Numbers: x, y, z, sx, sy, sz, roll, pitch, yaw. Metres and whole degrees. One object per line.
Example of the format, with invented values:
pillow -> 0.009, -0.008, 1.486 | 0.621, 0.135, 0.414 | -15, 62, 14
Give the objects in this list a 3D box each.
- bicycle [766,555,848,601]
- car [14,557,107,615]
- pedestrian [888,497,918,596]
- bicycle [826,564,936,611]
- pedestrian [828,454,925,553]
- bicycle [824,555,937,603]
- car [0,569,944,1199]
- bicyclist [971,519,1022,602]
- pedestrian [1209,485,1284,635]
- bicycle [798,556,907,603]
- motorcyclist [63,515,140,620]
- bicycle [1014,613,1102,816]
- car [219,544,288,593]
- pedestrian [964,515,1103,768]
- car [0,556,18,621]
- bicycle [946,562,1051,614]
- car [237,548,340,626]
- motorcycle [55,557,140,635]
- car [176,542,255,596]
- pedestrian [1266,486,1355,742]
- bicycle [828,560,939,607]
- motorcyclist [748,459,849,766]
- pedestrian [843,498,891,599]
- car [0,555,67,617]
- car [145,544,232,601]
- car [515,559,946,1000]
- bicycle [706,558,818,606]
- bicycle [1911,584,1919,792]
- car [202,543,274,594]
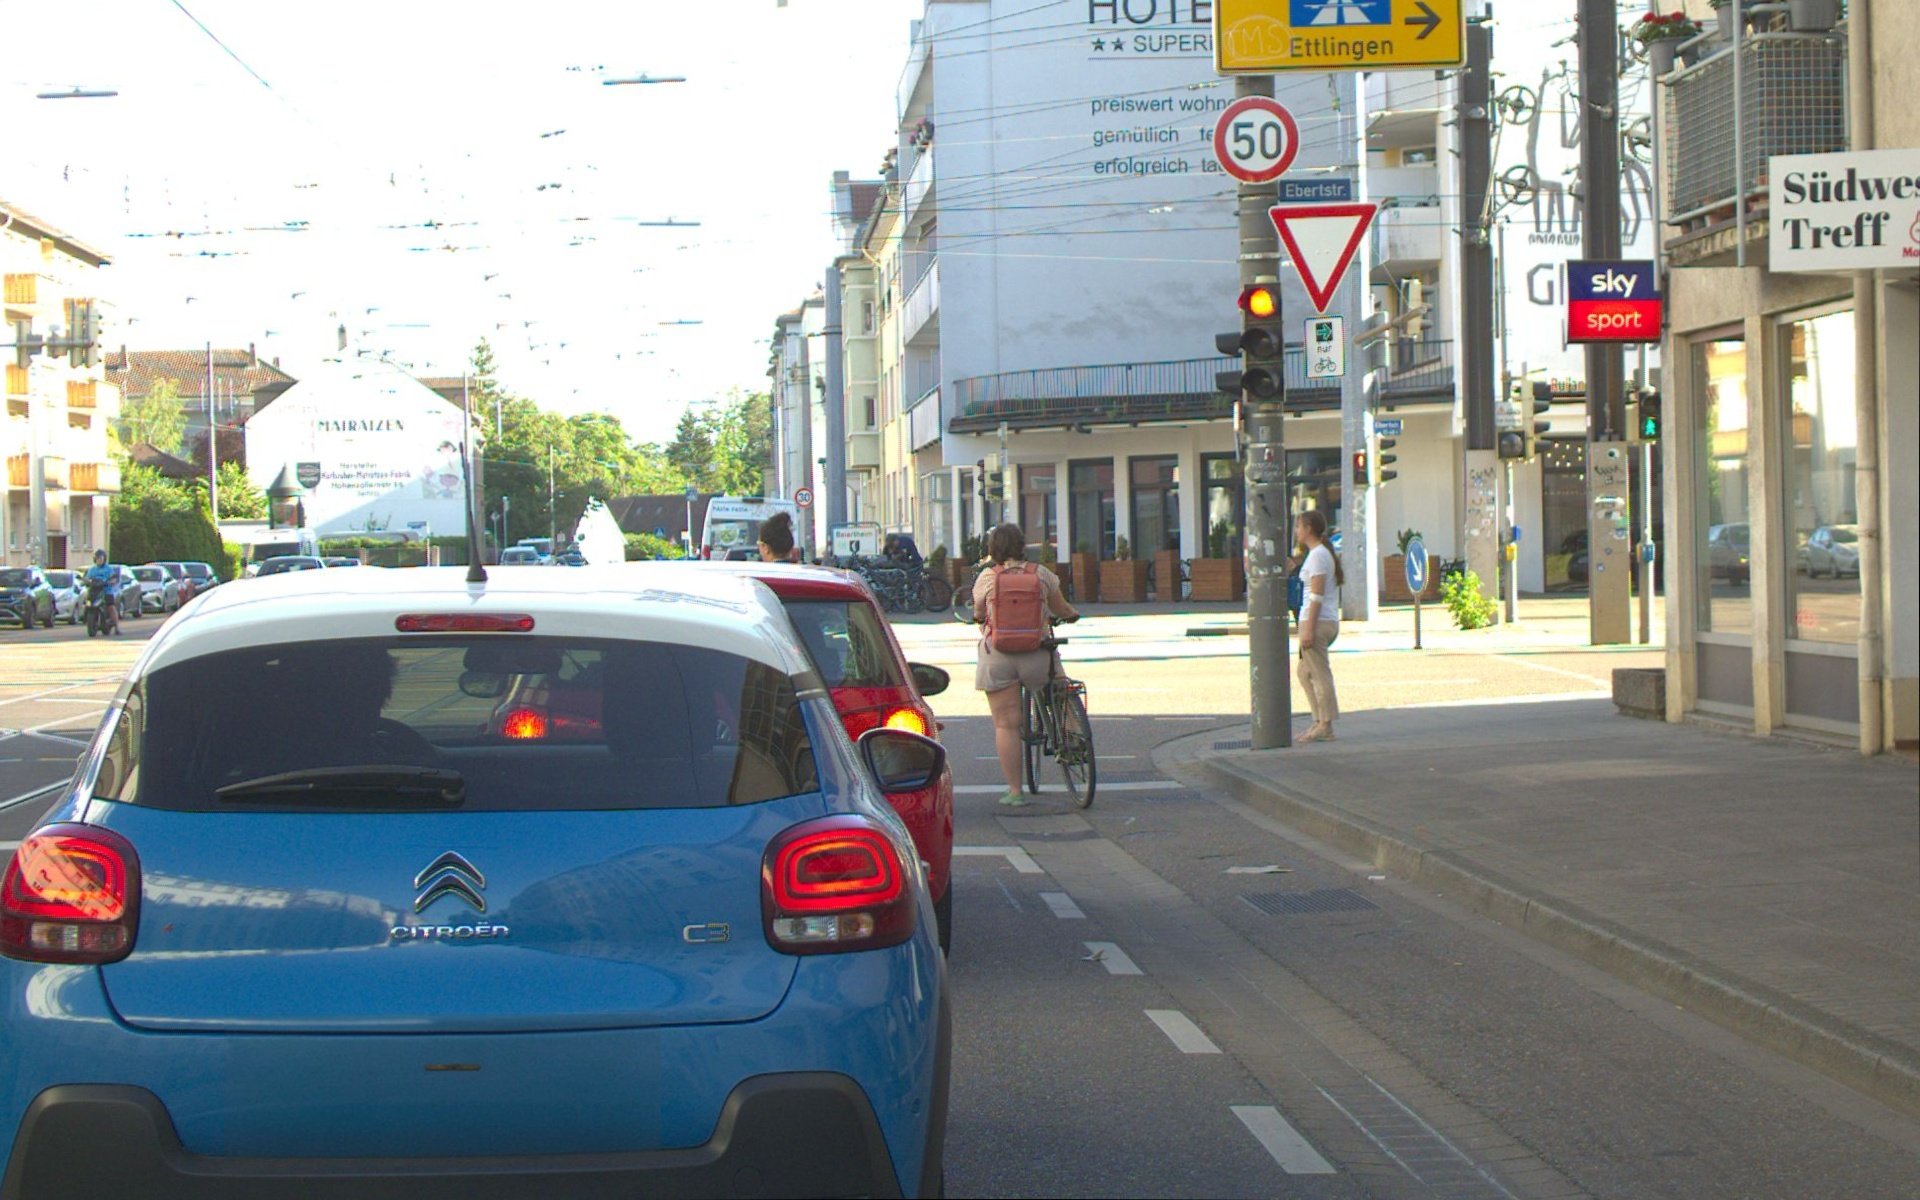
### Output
bicycle -> -3.098, -0.444, 69.417 | 1.785, 0.898, 0.366 | 1, 1, 34
car -> -24.087, -0.390, 92.169 | 1.732, 1.493, 4.001 | 1, 1, -5
pedestrian -> -1.167, -1.091, 70.214 | 0.577, 2.007, 0.626 | 1, 0, -3
bicycle -> -1.559, -0.247, 67.629 | 2.132, 0.898, 0.367 | 1, 0, -9
pedestrian -> -1.752, -2.034, 73.534 | 1.993, 2.007, 4.000 | 1, 1, -1
bicycle -> -1.525, -0.400, 65.884 | 2.132, 0.898, 0.367 | 1, 0, -9
car -> -0.881, 0.668, 7.168 | 1.654, 1.439, 3.523 | 1, 1, -1
bicyclist -> 0.654, -0.699, 61.541 | 0.746, 1.472, 0.562 | 1, 0, 19
pedestrian -> 3.905, -0.545, 46.866 | 0.926, 2.007, 0.759 | 1, 0, -1
bicycle -> -2.131, -0.407, 68.311 | 2.132, 0.898, 0.367 | 1, 0, -9
motorcyclist -> -16.784, -0.639, 67.261 | 1.185, 2.007, 1.276 | -1, 1, -3
bicycle -> 0.572, 0.653, 20.528 | 0.427, 1.119, 1.998 | 1, 1, -1
car -> -24.867, -1.104, 121.056 | 1.846, 1.681, 3.875 | 1, 1, -4
pedestrian -> 0.428, 0.239, 20.253 | 0.777, 1.455, 0.682 | 1, 0, -1
car -> -23.151, -0.263, 79.346 | 1.787, 1.506, 4.150 | 1, 1, -2
bicycle -> 0.680, -0.225, 61.598 | 1.855, 0.900, 0.349 | 1, 0, 19
car -> -14.888, -0.297, 76.407 | 1.774, 1.660, 3.857 | 1, 1, -4
motorcycle -> -16.775, -0.096, 66.964 | 0.923, 1.481, 3.726 | 1, 1, -3
car -> -24.101, -1.014, 111.398 | 1.882, 1.681, 4.001 | 1, 1, -4
pedestrian -> 2.470, 0.094, 24.247 | 0.517, 1.777, 0.595 | 1, 0, -2
bicycle -> -1.491, -0.327, 67.222 | 2.132, 0.898, 0.367 | 1, 0, -9
motorcyclist -> -0.917, 0.066, 19.623 | 0.526, 1.710, 0.717 | 1, 0, -1
pedestrian -> -1.871, -1.036, 69.127 | 0.630, 2.007, 0.724 | 1, 0, -36
car -> -23.659, -0.369, 86.070 | 1.785, 1.493, 4.001 | 1, 1, -4
car -> -23.882, -0.858, 106.517 | 1.983, 1.681, 4.001 | 1, 1, -3
car -> -0.791, 0.596, 13.090 | 1.424, 1.462, 2.924 | -1, 0, -1
bicycle -> -3.817, -0.349, 66.252 | 2.132, 0.898, 0.367 | 1, 0, -9
bicycle -> 4.870, 0.431, 15.706 | 0.542, 0.995, 1.706 | 1, 1, -1
car -> -24.473, -1.064, 116.655 | 1.833, 1.681, 4.001 | 1, 1, -4
